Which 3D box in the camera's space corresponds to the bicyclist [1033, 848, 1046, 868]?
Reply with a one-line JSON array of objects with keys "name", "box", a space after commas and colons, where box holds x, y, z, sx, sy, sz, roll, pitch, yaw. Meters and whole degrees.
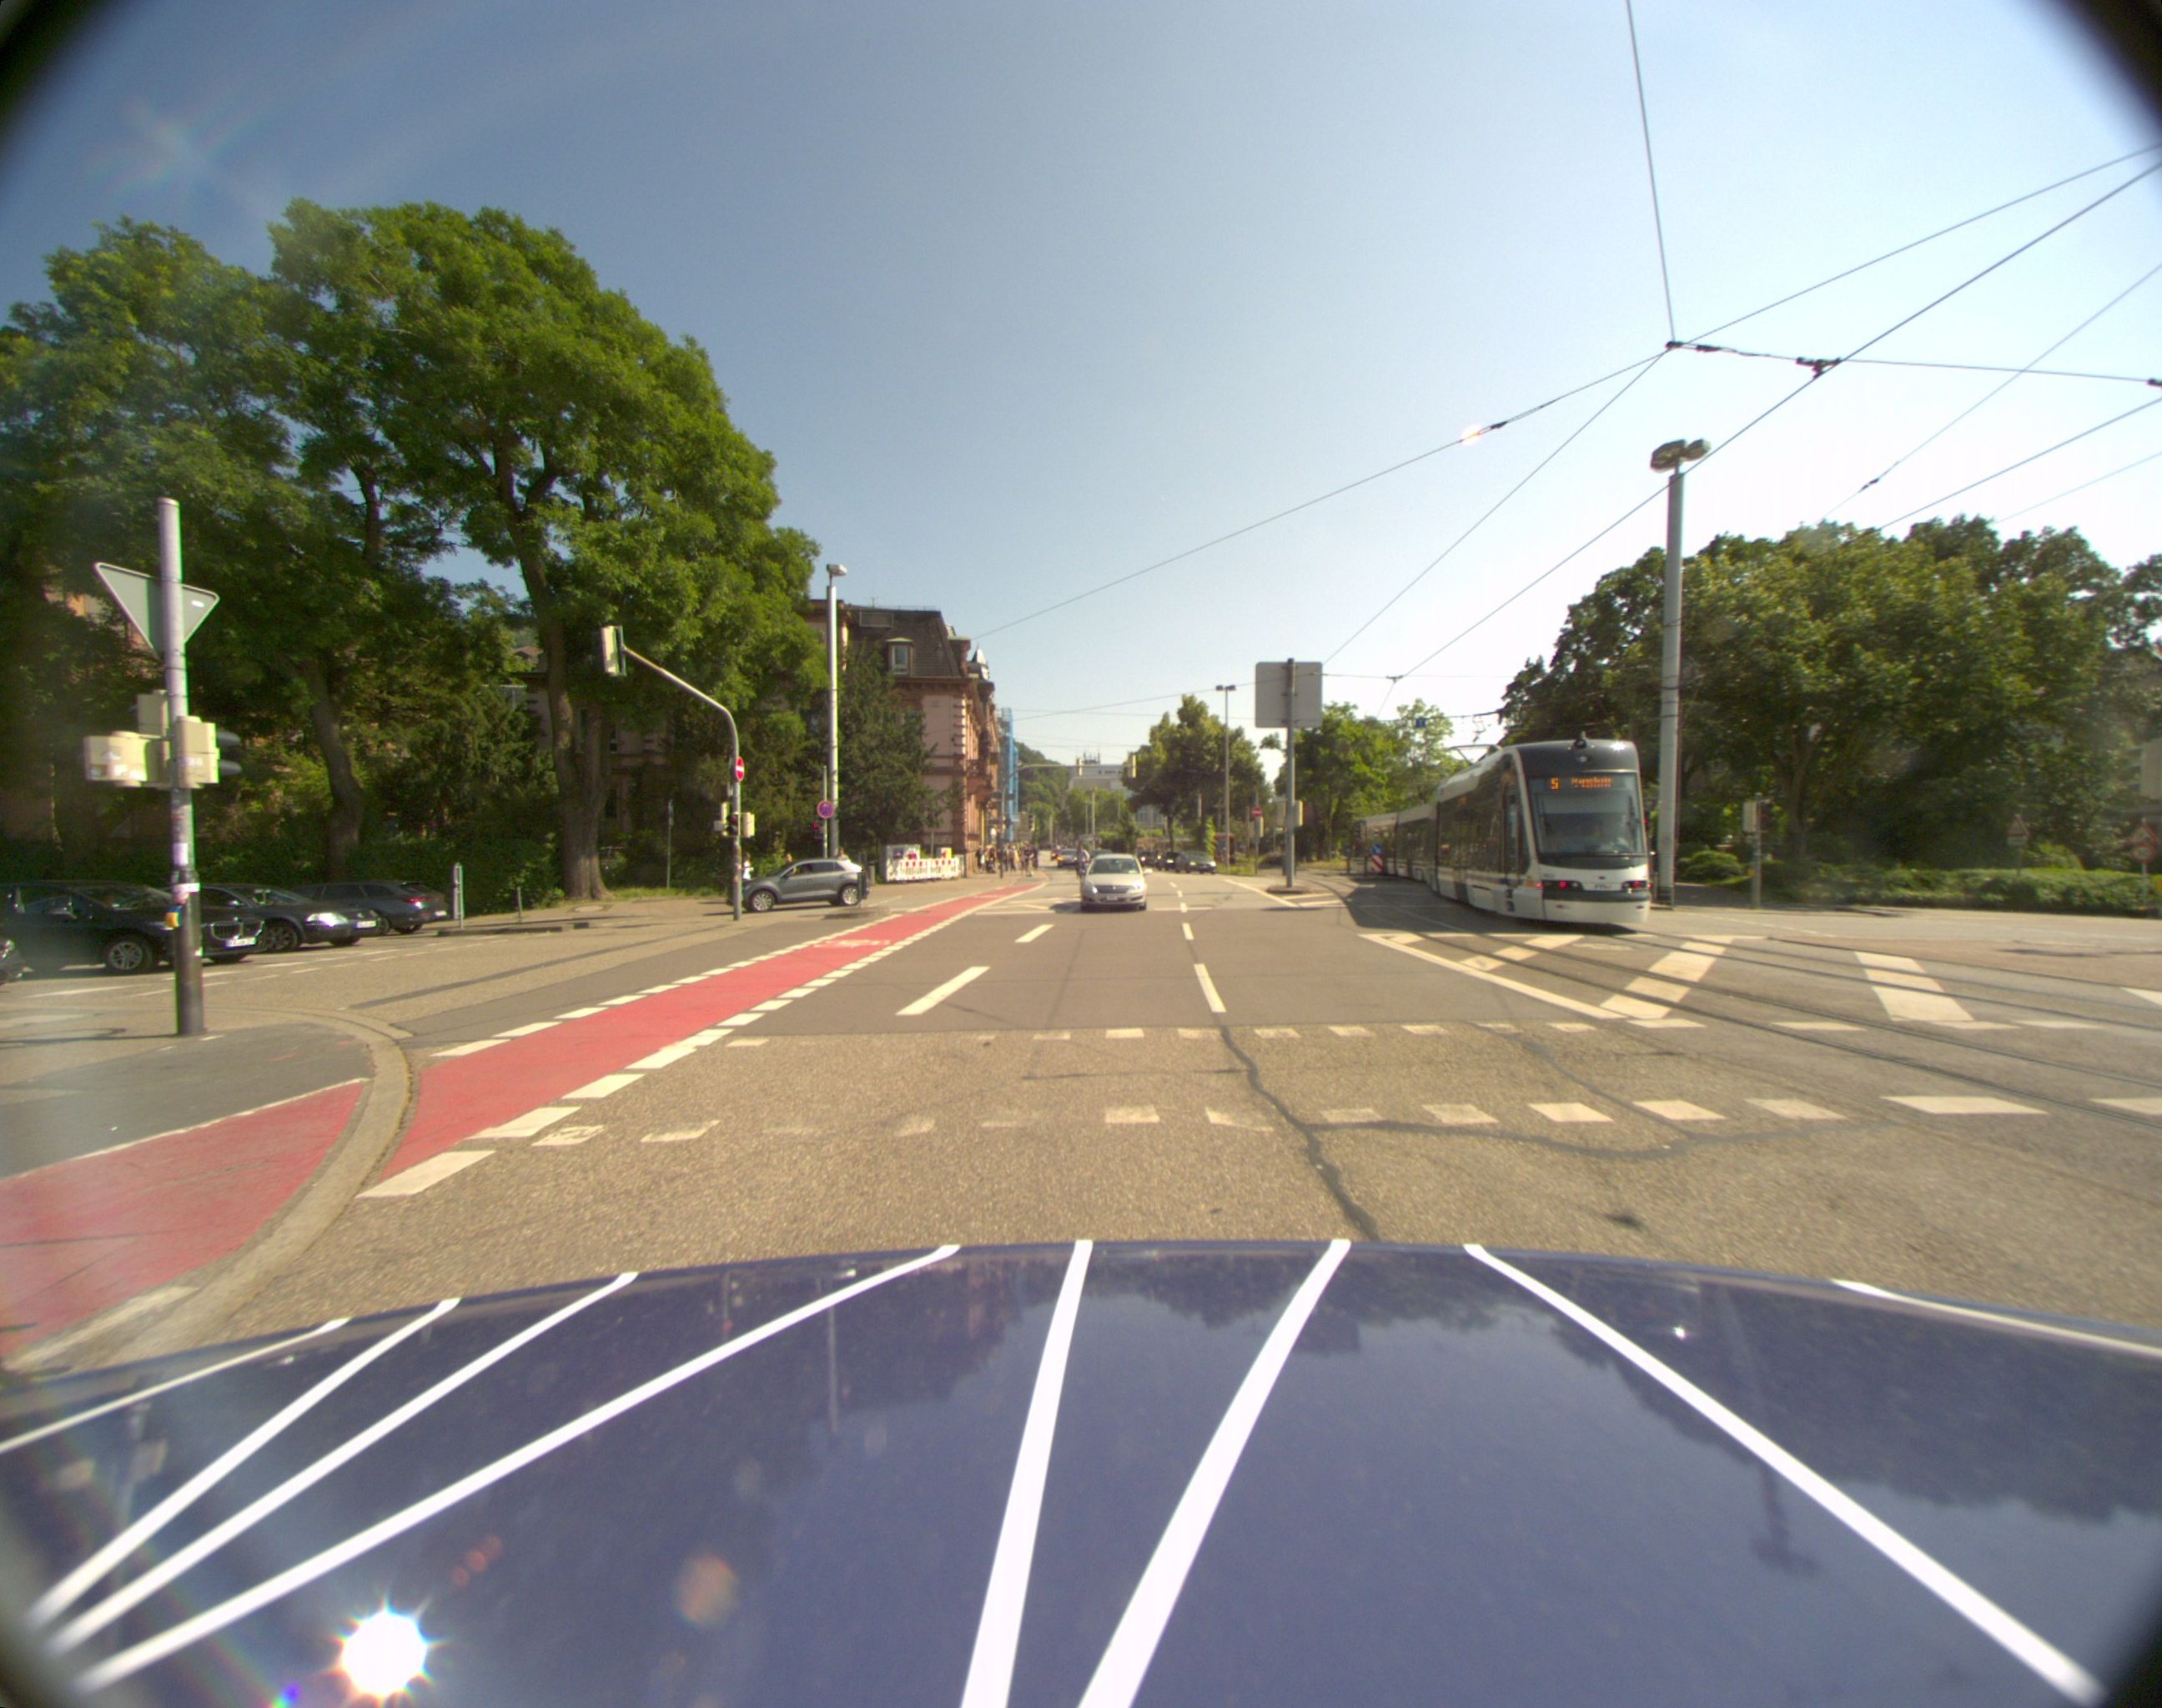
[{"name": "bicyclist", "box": [-3.010, 0.311, 55.142, 0.913, 1.428, 1.232, 1, 0, -6]}]

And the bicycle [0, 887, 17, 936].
[{"name": "bicycle", "box": [-26.970, 1.395, 17.938, 2.251, 1.158, 0.616, 0, 1, -15]}]

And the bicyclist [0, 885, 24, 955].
[{"name": "bicyclist", "box": [-26.664, 1.611, 18.169, 1.089, 1.668, 1.170, -1, 0, -13]}]

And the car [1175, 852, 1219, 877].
[{"name": "car", "box": [7.409, 0.655, 48.937, 1.753, 1.477, 4.746, 2, 0, -4]}]

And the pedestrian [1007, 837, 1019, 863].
[{"name": "pedestrian", "box": [-5.386, -0.315, 60.365, 0.814, 2.002, 0.815, 3, 0, -6]}]

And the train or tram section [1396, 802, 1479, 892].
[{"name": "train or tram section", "box": [16.951, -0.256, 36.670, 2.540, 3.755, 9.183, 0, 0, 19]}]

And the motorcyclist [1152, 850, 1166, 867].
[{"name": "motorcyclist", "box": [6.408, 0.350, 62.344, 0.903, 1.350, 0.992, 1, 0, -6]}]

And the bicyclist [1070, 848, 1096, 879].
[{"name": "bicyclist", "box": [0.085, 0.426, 34.212, 0.913, 1.385, 1.231, 1, 0, -10]}]

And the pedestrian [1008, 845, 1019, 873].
[{"name": "pedestrian", "box": [-4.319, 0.309, 48.612, 0.707, 1.759, 0.902, 0, 1, -6]}]

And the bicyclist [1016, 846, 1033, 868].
[{"name": "bicyclist", "box": [-3.288, 0.168, 44.329, 0.923, 1.212, 0.971, 1, 0, -6]}]

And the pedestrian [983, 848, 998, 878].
[{"name": "pedestrian", "box": [-5.574, 0.561, 46.773, 0.814, 1.782, 0.815, 3, 0, -6]}]

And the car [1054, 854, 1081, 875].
[{"name": "car", "box": [-1.140, 0.839, 61.368, 1.999, 1.564, 3.999, -1, 0, -3]}]

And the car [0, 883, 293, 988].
[{"name": "car", "box": [-16.568, 1.318, 12.668, 4.487, 1.497, 1.846, -1, 0, -10]}]

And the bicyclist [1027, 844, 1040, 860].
[{"name": "bicyclist", "box": [-3.691, -0.184, 59.024, 0.913, 1.227, 1.232, 1, 0, -6]}]

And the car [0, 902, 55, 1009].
[{"name": "car", "box": [-16.577, 1.347, 9.442, 4.487, 1.387, 1.845, 1, 0, -10]}]

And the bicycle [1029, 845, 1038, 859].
[{"name": "bicycle", "box": [-3.702, -0.156, 58.923, 0.643, 1.076, 2.495, 1, 0, -6]}]

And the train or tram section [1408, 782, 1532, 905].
[{"name": "train or tram section", "box": [13.755, -0.270, 27.686, 2.406, 3.659, 9.633, 0, 0, 17]}]

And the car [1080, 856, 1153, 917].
[{"name": "car", "box": [0.968, 0.813, 21.171, 1.802, 1.492, 4.498, -1, 0, 2]}]

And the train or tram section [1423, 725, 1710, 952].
[{"name": "train or tram section", "box": [10.720, -0.206, 18.567, 2.473, 3.755, 11.865, 0, 0, 15]}]

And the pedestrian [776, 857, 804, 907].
[{"name": "pedestrian", "box": [-10.165, 0.954, 26.579, 0.676, 1.700, 0.892, 1, 0, -4]}]

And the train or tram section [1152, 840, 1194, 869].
[{"name": "train or tram section", "box": [11.598, 0.073, 97.132, 2.768, 3.383, 12.405, 1, 0, -5]}]

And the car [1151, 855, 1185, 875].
[{"name": "car", "box": [6.274, 0.785, 55.108, 1.798, 1.403, 3.999, 1, 0, -3]}]

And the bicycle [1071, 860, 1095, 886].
[{"name": "bicycle", "box": [0.071, 0.834, 34.245, 0.644, 1.076, 2.494, 1, 0, -10]}]

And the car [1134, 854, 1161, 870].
[{"name": "car", "box": [5.796, 0.691, 66.843, 1.638, 1.301, 3.912, 1, 0, -6]}]

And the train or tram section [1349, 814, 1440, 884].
[{"name": "train or tram section", "box": [18.687, -0.287, 46.002, 2.542, 3.755, 9.174, 2, 0, 6]}]

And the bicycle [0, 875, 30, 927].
[{"name": "bicycle", "box": [-26.772, 1.142, 18.117, 2.004, 1.218, 0.717, -1, 0, -13]}]

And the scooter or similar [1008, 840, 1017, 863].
[{"name": "scooter or similar", "box": [-6.001, -0.181, 66.687, 0.694, 2.002, 1.095, 1, 0, -6]}]

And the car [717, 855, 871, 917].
[{"name": "car", "box": [-8.854, 0.969, 23.499, 3.999, 1.507, 1.932, -5, 0, -35]}]

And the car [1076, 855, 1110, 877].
[{"name": "car", "box": [0.745, 0.778, 50.349, 1.895, 1.323, 3.999, -1, 0, -4]}]

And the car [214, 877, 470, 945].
[{"name": "car", "box": [-18.640, 1.395, 19.392, 4.285, 1.482, 1.998, -1, 0, -9]}]

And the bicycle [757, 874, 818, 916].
[{"name": "bicycle", "box": [-10.351, 1.436, 26.913, 0.801, 1.199, 2.276, 3, 4, 17]}]

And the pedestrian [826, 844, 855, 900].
[{"name": "pedestrian", "box": [-8.811, 0.664, 27.857, 0.777, 2.002, 1.059, 1, 0, -5]}]

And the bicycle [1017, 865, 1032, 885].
[{"name": "bicycle", "box": [-3.292, 1.233, 44.357, 0.781, 1.096, 2.137, 1, 0, -6]}]

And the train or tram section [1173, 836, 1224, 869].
[{"name": "train or tram section", "box": [12.857, -0.176, 84.529, 2.768, 3.383, 12.406, 1, 0, -4]}]

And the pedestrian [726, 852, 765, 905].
[{"name": "pedestrian", "box": [-11.547, 0.831, 26.162, 1.060, 1.772, 0.700, -1, 5, -14]}]

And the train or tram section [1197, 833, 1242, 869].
[{"name": "train or tram section", "box": [13.645, -0.322, 75.378, 2.768, 3.383, 5.883, 1, 0, -6]}]

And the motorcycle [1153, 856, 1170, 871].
[{"name": "motorcycle", "box": [6.507, 0.758, 61.741, 0.903, 1.156, 2.351, 0, 0, -6]}]

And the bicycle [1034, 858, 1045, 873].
[{"name": "bicycle", "box": [-3.041, 0.818, 55.262, 0.643, 1.076, 2.495, 1, 0, -6]}]

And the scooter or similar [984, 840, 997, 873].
[{"name": "scooter or similar", "box": [-5.470, 0.159, 45.957, 0.694, 2.002, 1.095, 1, 0, -6]}]

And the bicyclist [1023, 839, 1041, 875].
[{"name": "bicyclist", "box": [-2.754, 0.184, 42.923, 0.944, 2.002, 0.829, 1, 0, -6]}]

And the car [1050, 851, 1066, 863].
[{"name": "car", "box": [-3.014, 0.425, 98.741, 1.999, 1.564, 3.999, -1, 0, -3]}]

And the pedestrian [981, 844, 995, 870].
[{"name": "pedestrian", "box": [-5.896, 0.206, 48.143, 0.814, 1.593, 0.815, 3, 0, -6]}]

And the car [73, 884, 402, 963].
[{"name": "car", "box": [-17.080, 1.366, 15.628, 4.316, 1.349, 1.881, -1, 0, -7]}]

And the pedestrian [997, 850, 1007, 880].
[{"name": "pedestrian", "box": [-5.118, 0.714, 49.238, 0.636, 1.880, 0.902, 0, 0, -6]}]

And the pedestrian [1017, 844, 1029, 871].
[{"name": "pedestrian", "box": [-3.701, 0.210, 48.756, 0.707, 1.743, 0.902, 1, 2, -6]}]

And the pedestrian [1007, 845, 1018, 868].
[{"name": "pedestrian", "box": [-5.999, 0.231, 66.730, 0.814, 2.002, 0.815, 3, 0, -6]}]

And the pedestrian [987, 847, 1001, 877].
[{"name": "pedestrian", "box": [-5.903, 0.531, 51.585, 0.814, 2.002, 0.815, 3, 0, -6]}]
